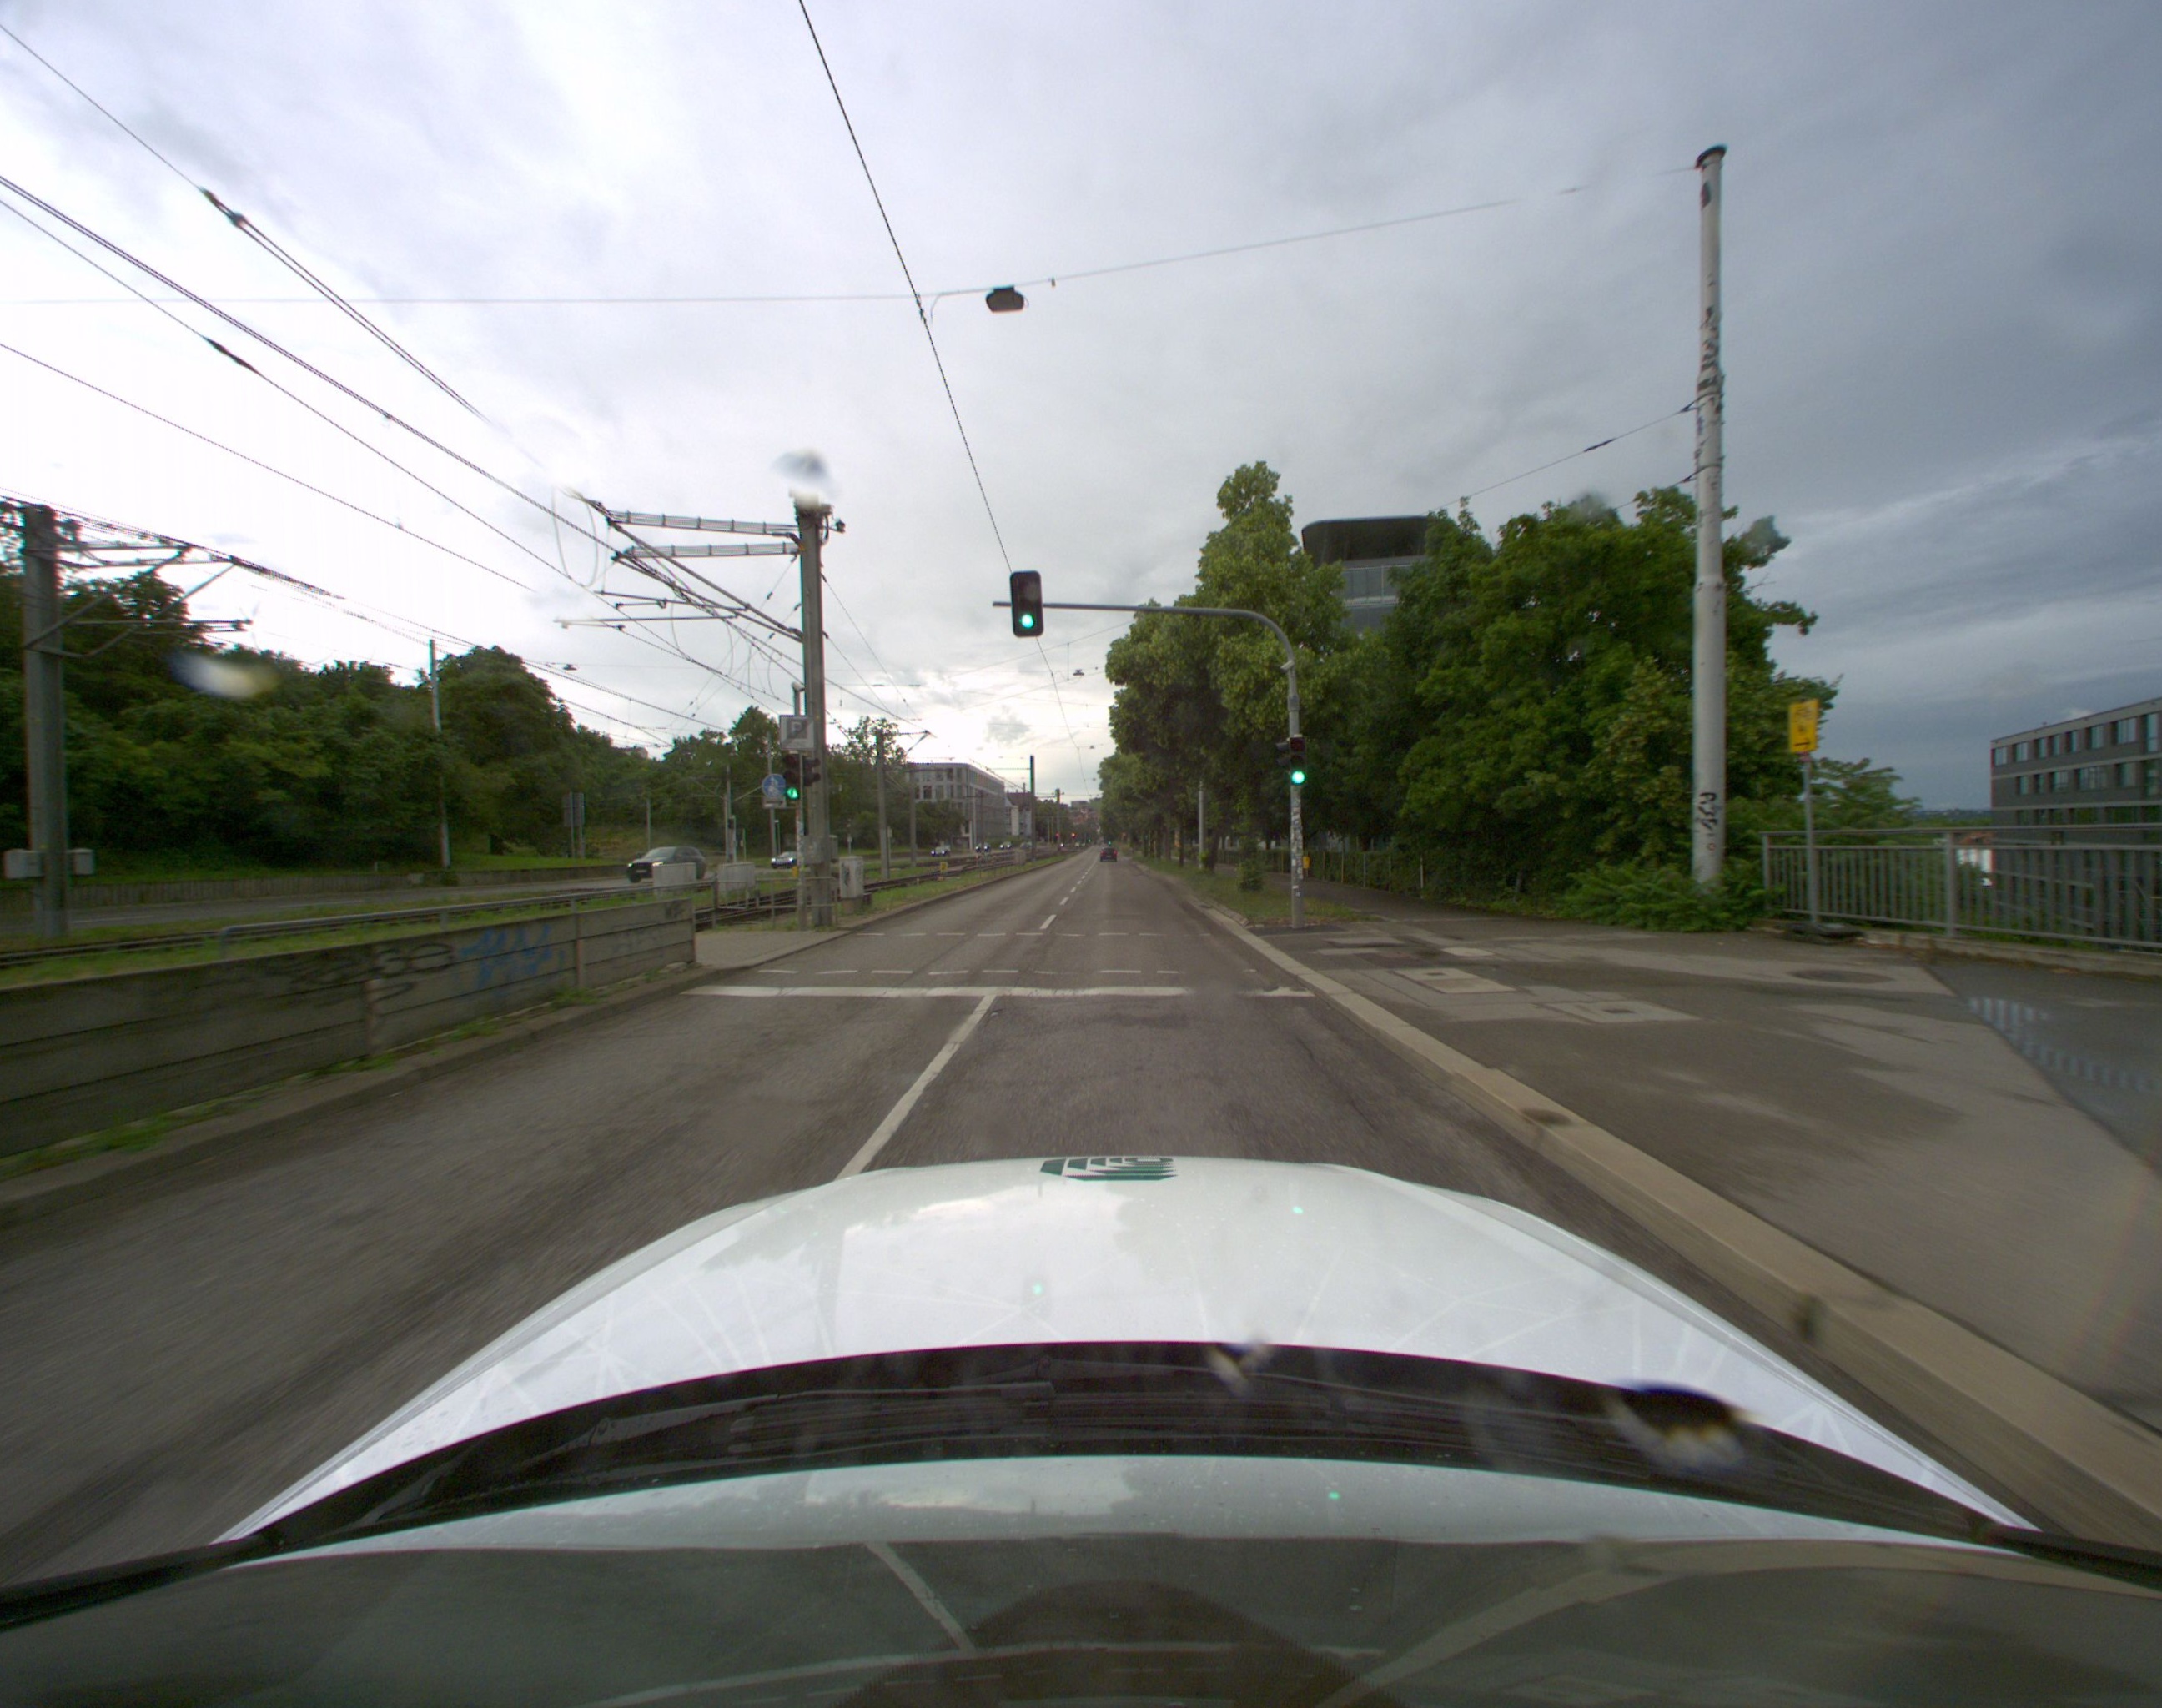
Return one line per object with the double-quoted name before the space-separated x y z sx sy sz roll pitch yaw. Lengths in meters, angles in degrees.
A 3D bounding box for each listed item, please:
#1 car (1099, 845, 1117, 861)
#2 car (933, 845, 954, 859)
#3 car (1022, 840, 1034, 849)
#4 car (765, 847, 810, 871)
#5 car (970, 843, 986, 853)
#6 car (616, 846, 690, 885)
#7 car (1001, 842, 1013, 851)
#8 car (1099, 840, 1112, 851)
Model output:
"car" 2.678 -0.159 82.000 1.720 1.540 4.002 0 1 1
"car" -18.808 -0.333 111.406 1.840 1.631 3.617 2 3 6
"car" -11.236 -2.025 172.558 1.840 1.631 3.617 2 3 6
"car" -23.038 0.374 64.030 1.840 1.631 3.820 2 3 6
"car" -17.657 -1.049 139.997 1.840 1.631 3.617 2 3 6
"car" -21.256 0.538 40.585 1.658 1.631 3.310 2 3 6
"car" -15.079 -1.492 166.167 1.644 1.631 3.617 2 3 6
"car" 3.305 -1.188 111.624 1.720 1.424 4.002 0 1 1
